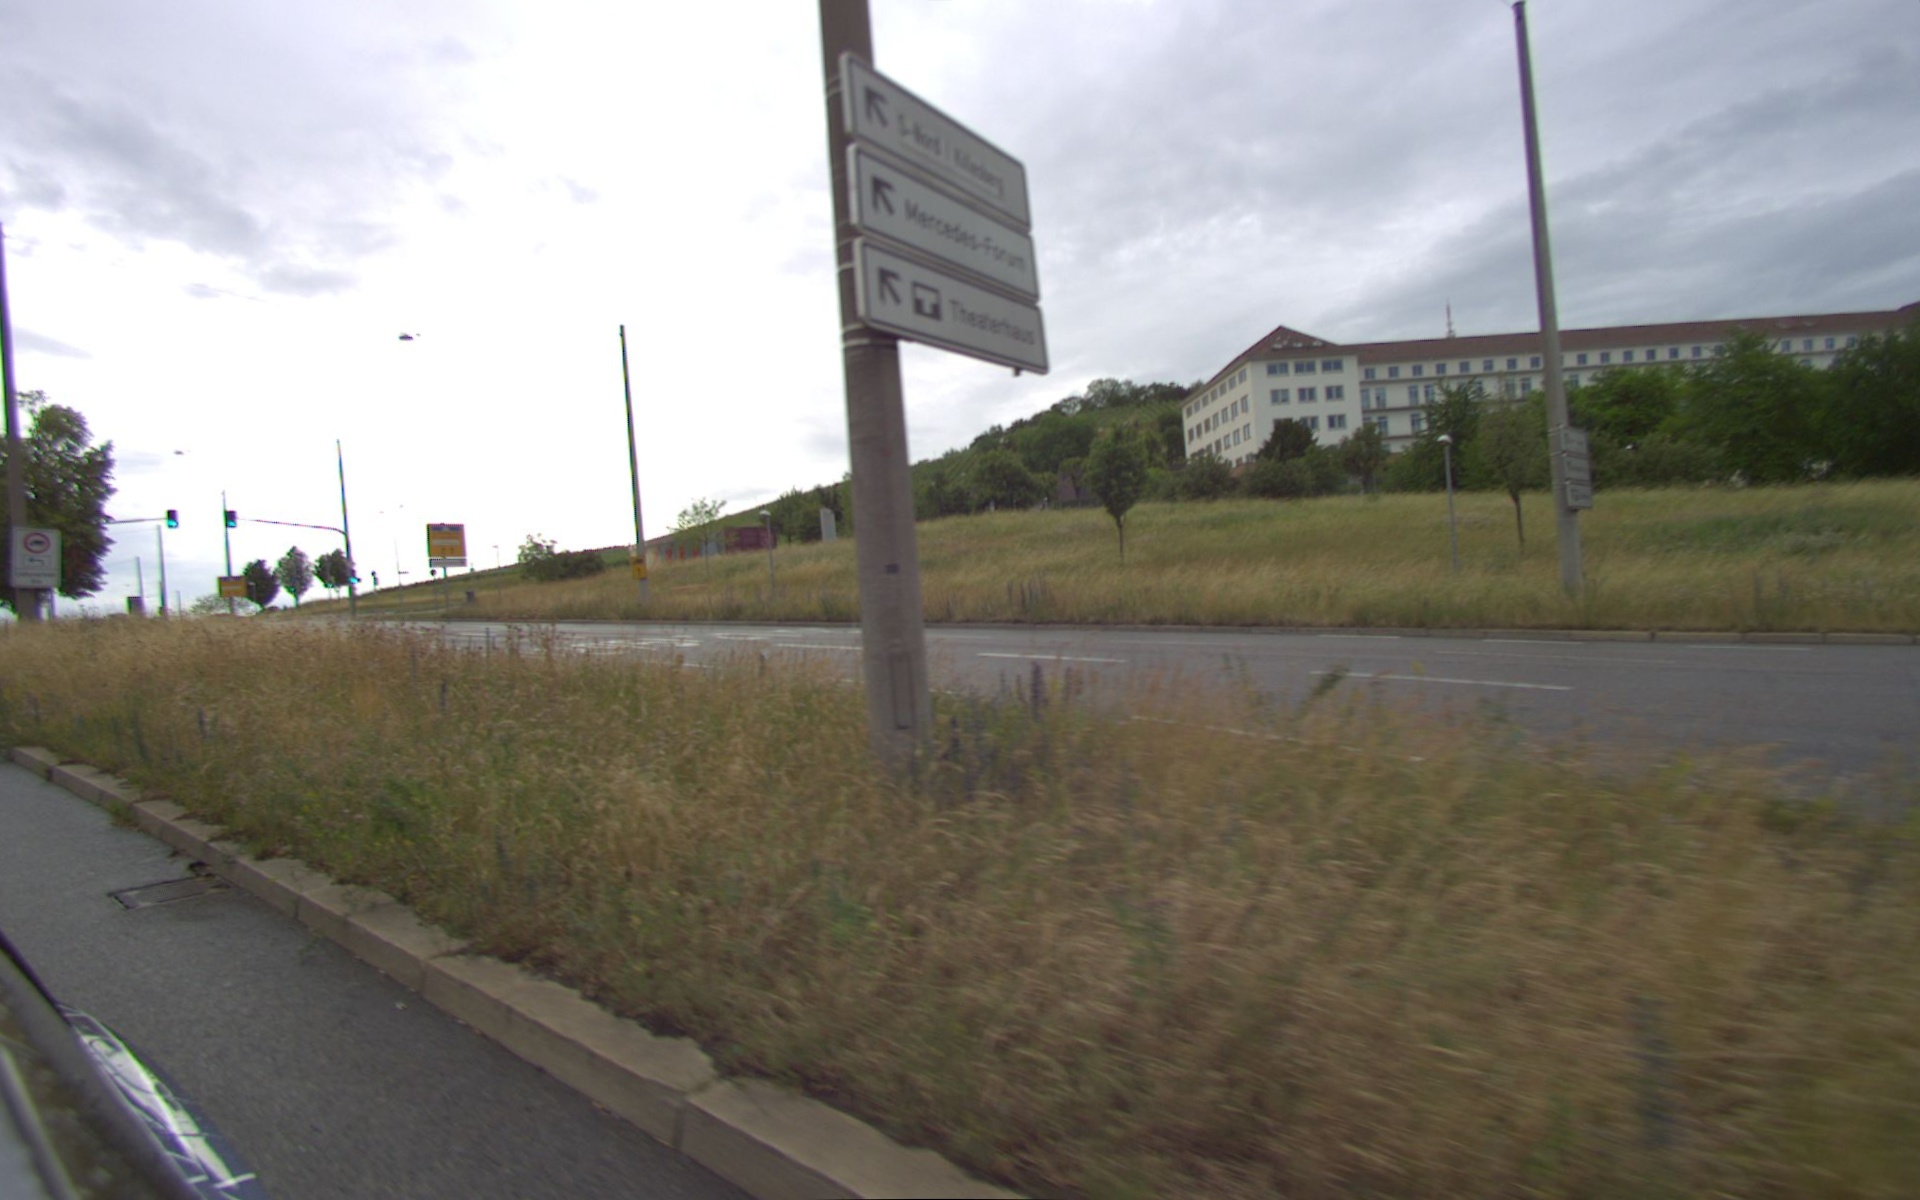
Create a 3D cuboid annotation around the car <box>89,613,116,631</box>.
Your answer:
[{"bbox_3d":[-74.078,1.860,87.409,1.520,1.399,3.931,-3,2,-43],"label":"car"}]
